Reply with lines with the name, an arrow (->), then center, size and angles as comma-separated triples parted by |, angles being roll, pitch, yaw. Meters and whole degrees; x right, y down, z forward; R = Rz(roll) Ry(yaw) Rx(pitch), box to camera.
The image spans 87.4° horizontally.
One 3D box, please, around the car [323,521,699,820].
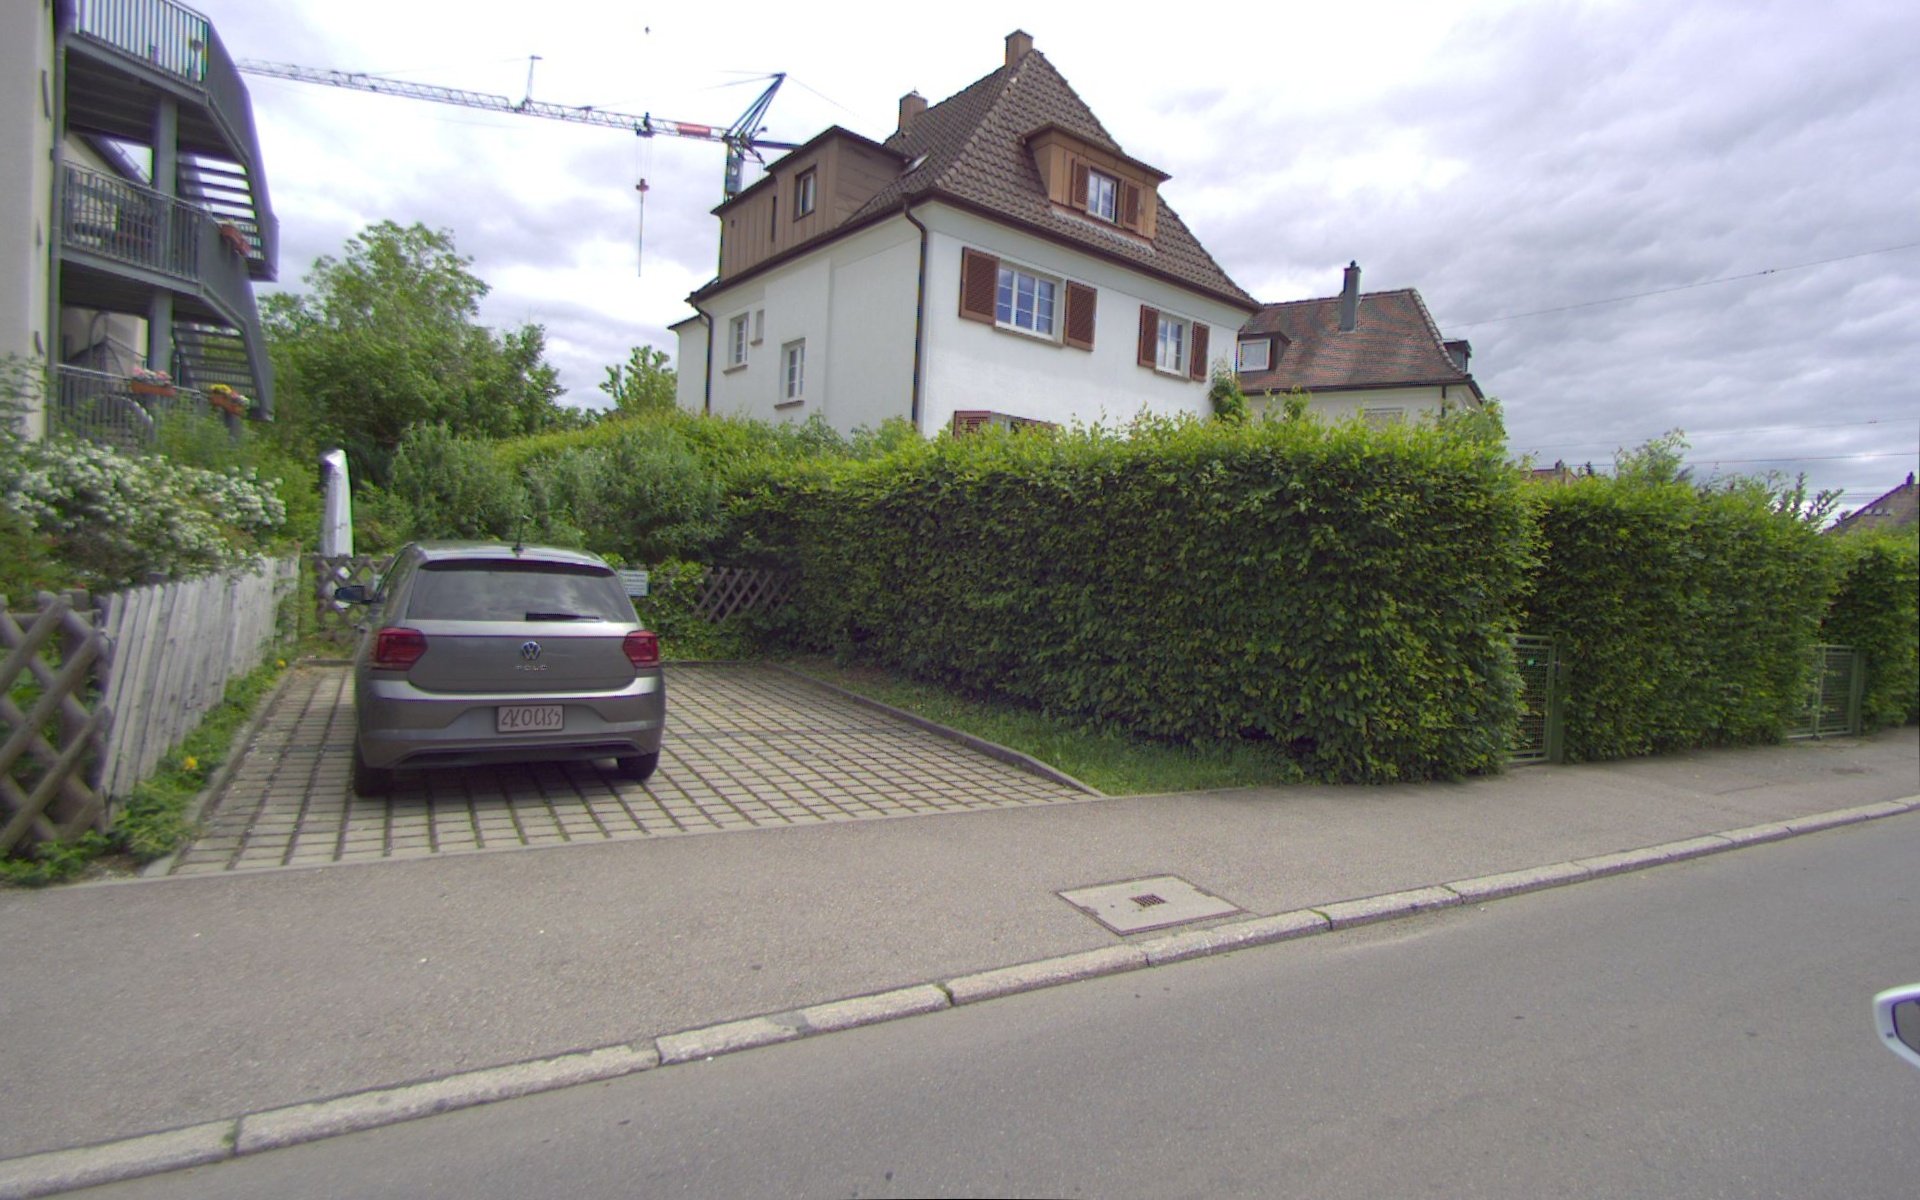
car -> -3.224, 0.274, 7.022 | 1.796, 1.453, 3.654 | 3, 3, -29
